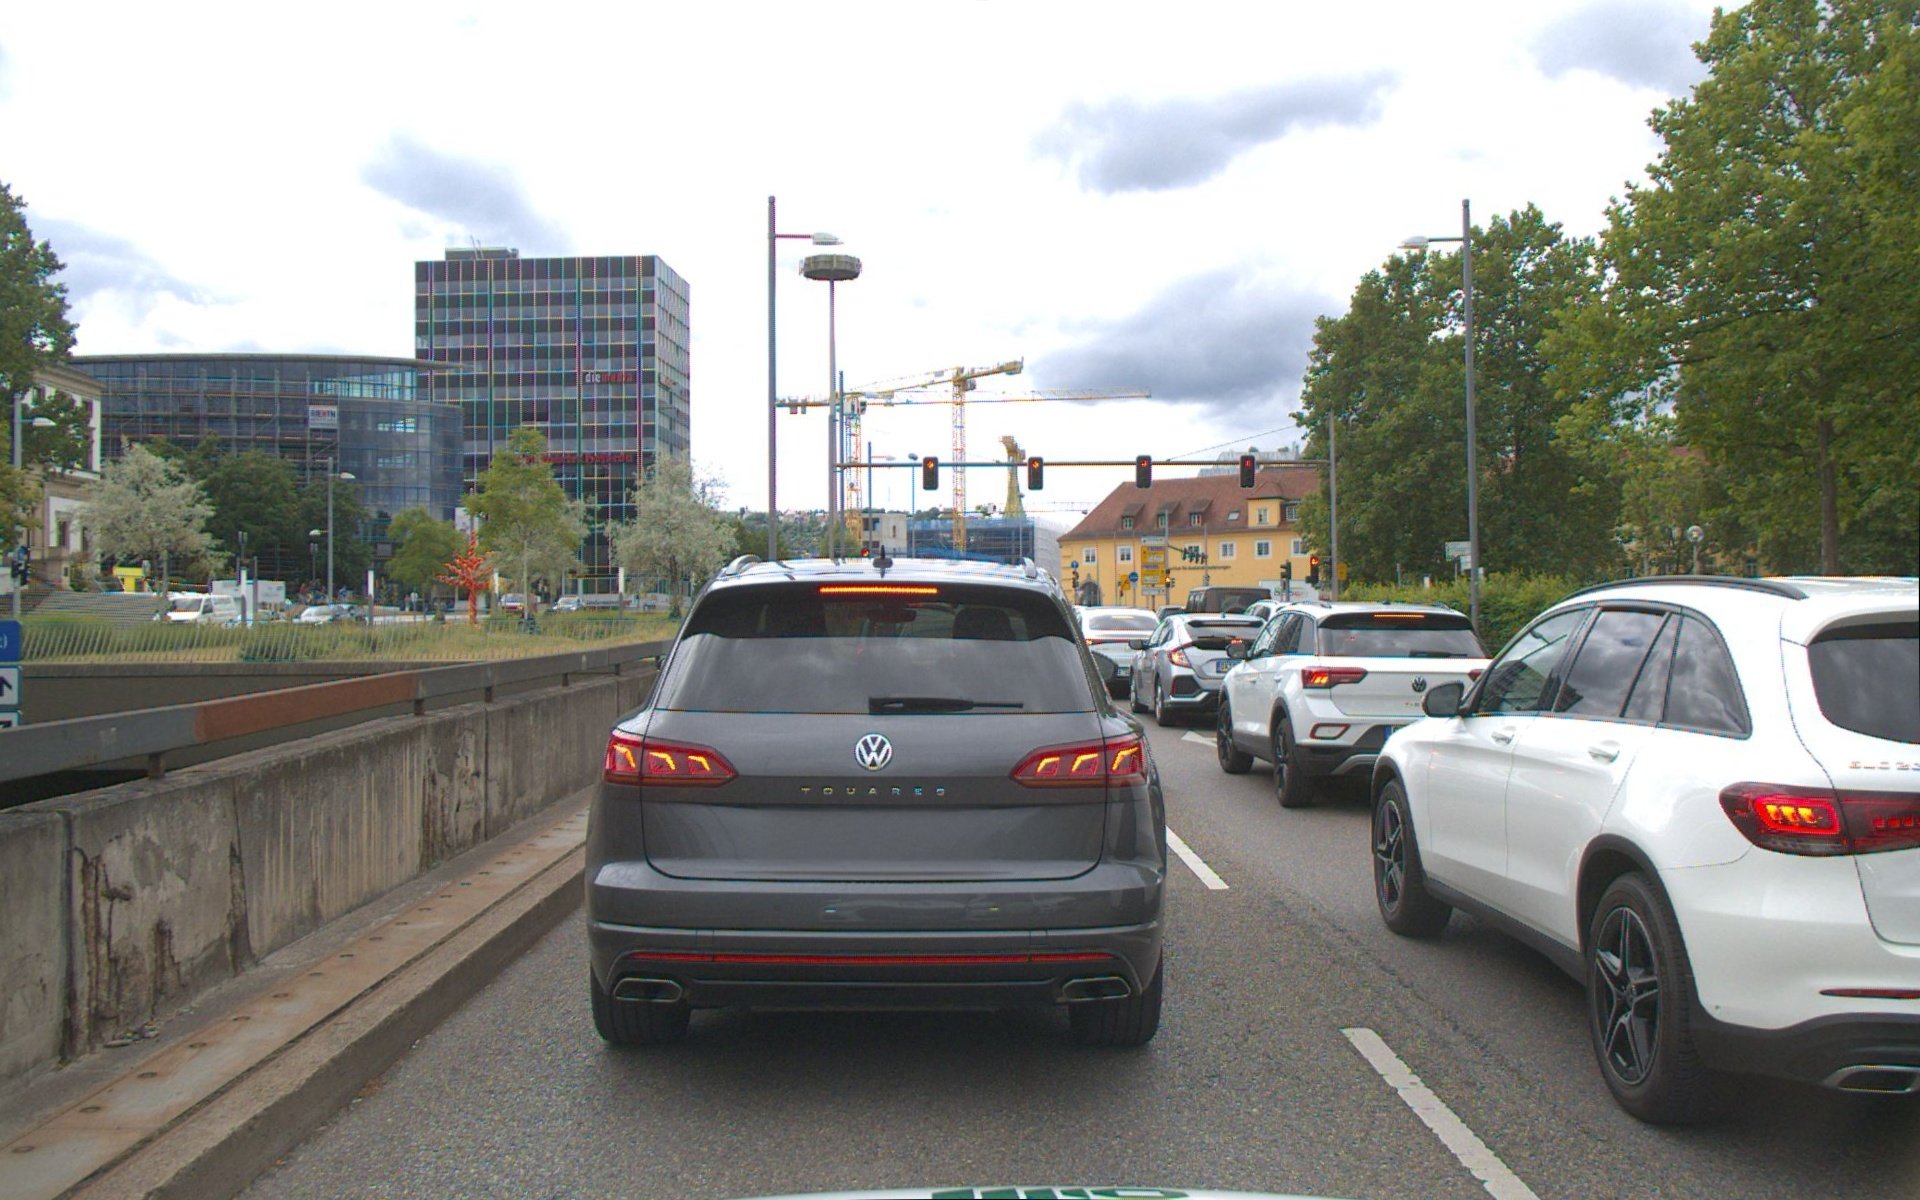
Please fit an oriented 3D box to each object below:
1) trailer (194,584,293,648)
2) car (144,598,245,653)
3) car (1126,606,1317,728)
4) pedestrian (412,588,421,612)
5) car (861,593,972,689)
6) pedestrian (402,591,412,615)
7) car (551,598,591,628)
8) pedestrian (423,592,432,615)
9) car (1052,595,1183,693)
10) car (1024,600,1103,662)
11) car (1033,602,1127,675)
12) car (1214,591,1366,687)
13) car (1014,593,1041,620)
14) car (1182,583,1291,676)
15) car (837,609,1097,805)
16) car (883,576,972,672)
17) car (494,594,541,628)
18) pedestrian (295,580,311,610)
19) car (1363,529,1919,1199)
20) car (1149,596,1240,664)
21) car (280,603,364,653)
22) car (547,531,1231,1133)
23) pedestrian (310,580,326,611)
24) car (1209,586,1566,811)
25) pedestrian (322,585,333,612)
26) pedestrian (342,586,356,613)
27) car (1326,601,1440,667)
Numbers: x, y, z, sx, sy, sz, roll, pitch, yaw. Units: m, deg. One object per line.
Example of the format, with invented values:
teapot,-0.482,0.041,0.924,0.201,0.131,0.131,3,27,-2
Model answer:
trailer,-31.555,0.643,73.047,1.996,2.650,5.507,2,1,-1
car,-31.376,1.007,67.938,1.953,2.048,4.692,0,1,0
car,3.387,0.841,22.234,1.887,1.457,4.489,1,-1,0
pedestrian,-48.107,-0.001,146.351,0.726,2.049,0.789,-1,1,-16
car,-0.800,0.726,31.000,1.912,1.628,3.930,2,0,-1
pedestrian,-48.012,0.252,143.595,0.728,2.049,0.787,-1,1,-23
car,-29.248,0.957,124.494,1.953,2.048,4.691,0,1,-1
pedestrian,-47.257,0.319,146.692,0.727,2.049,0.789,-1,1,-19
car,2.670,0.739,28.950,1.887,1.556,4.489,1,-1,0
car,2.705,0.819,44.057,1.887,1.556,4.047,1,-1,0
car,2.684,0.852,37.769,1.887,1.556,4.047,1,-1,0
car,6.391,0.701,32.514,1.954,1.668,4.303,0,2,-3
car,4.530,0.464,111.514,1.586,1.656,3.999,2,-1,0
car,6.481,0.686,39.197,1.871,2.049,4.011,2,-1,0
car,0.021,0.814,14.383,1.912,1.408,3.930,2,0,-1
car,-0.756,0.533,38.536,1.912,2.053,3.930,2,0,-1
car,-29.068,0.707,108.797,1.953,2.048,4.691,0,1,-1
pedestrian,-44.540,-0.344,112.172,0.723,2.049,0.793,-1,1,0
car,2.995,0.663,6.229,1.887,1.682,4.490,0,0,0
car,6.301,0.799,44.773,1.871,1.727,4.011,2,-1,0
car,-28.590,1.233,74.279,1.953,2.048,4.692,0,1,0
car,-0.228,0.657,6.644,1.912,1.680,3.999,0,0,-1
pedestrian,-43.065,-0.280,110.916,0.723,2.049,0.793,-1,-2,4
car,3.371,0.726,13.969,1.887,1.578,4.489,1,-1,0
pedestrian,-47.718,-0.119,124.838,0.729,2.049,0.914,-1,1,-24
pedestrian,-47.392,-0.025,128.307,0.773,2.049,0.741,0,1,6
car,10.220,0.834,40.243,1.891,1.485,4.529,1,-1,4
